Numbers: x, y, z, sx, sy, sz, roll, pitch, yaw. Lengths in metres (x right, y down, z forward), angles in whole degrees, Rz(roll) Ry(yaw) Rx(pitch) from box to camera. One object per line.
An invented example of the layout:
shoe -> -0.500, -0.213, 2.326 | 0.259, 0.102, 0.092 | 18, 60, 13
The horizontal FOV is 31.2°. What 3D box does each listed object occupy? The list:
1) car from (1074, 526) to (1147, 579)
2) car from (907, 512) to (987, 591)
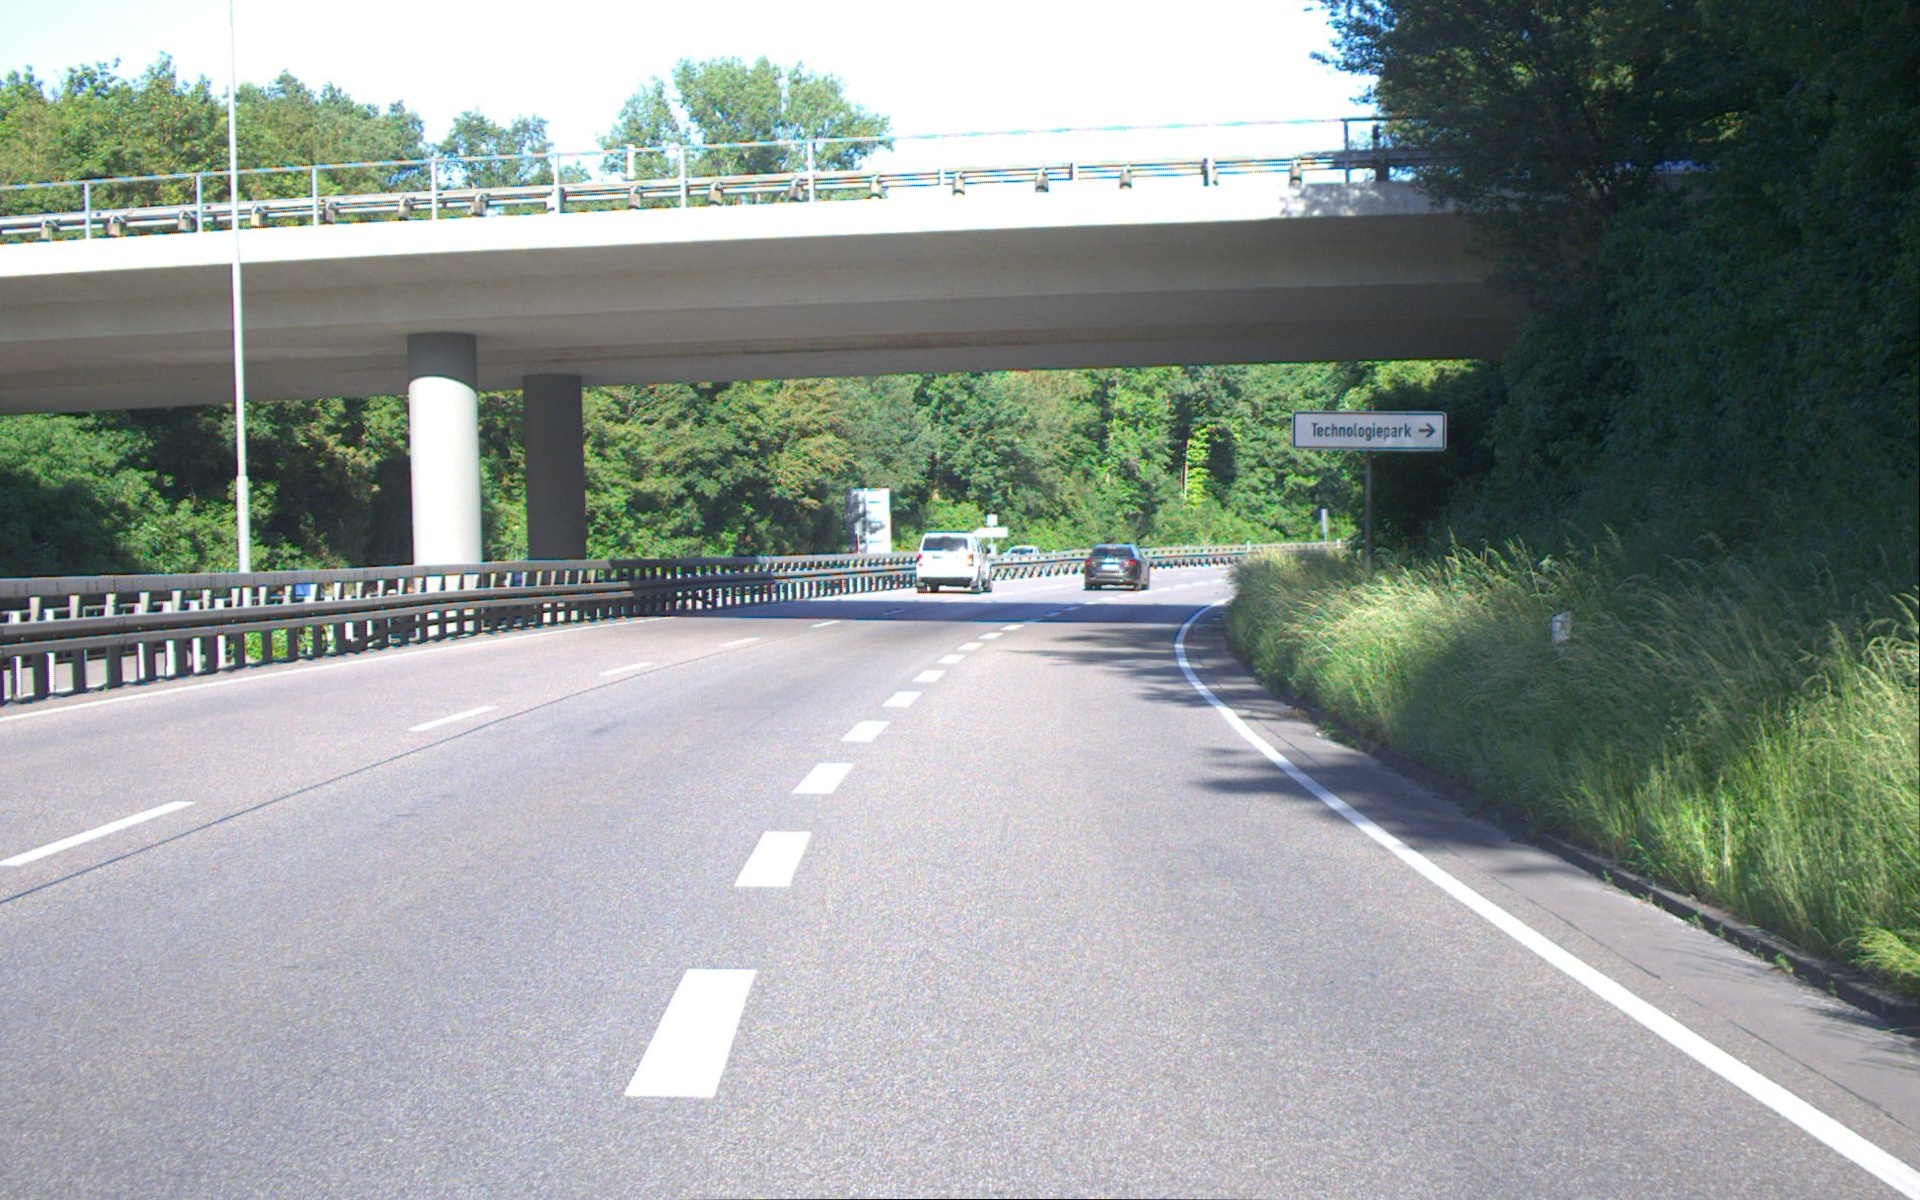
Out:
car -> 4.807, -1.519, 109.199 | 1.740, 1.656, 3.944 | -1, 1, 11
car -> -0.351, -1.442, 101.276 | 1.994, 2.270, 4.000 | -1, 1, 5
